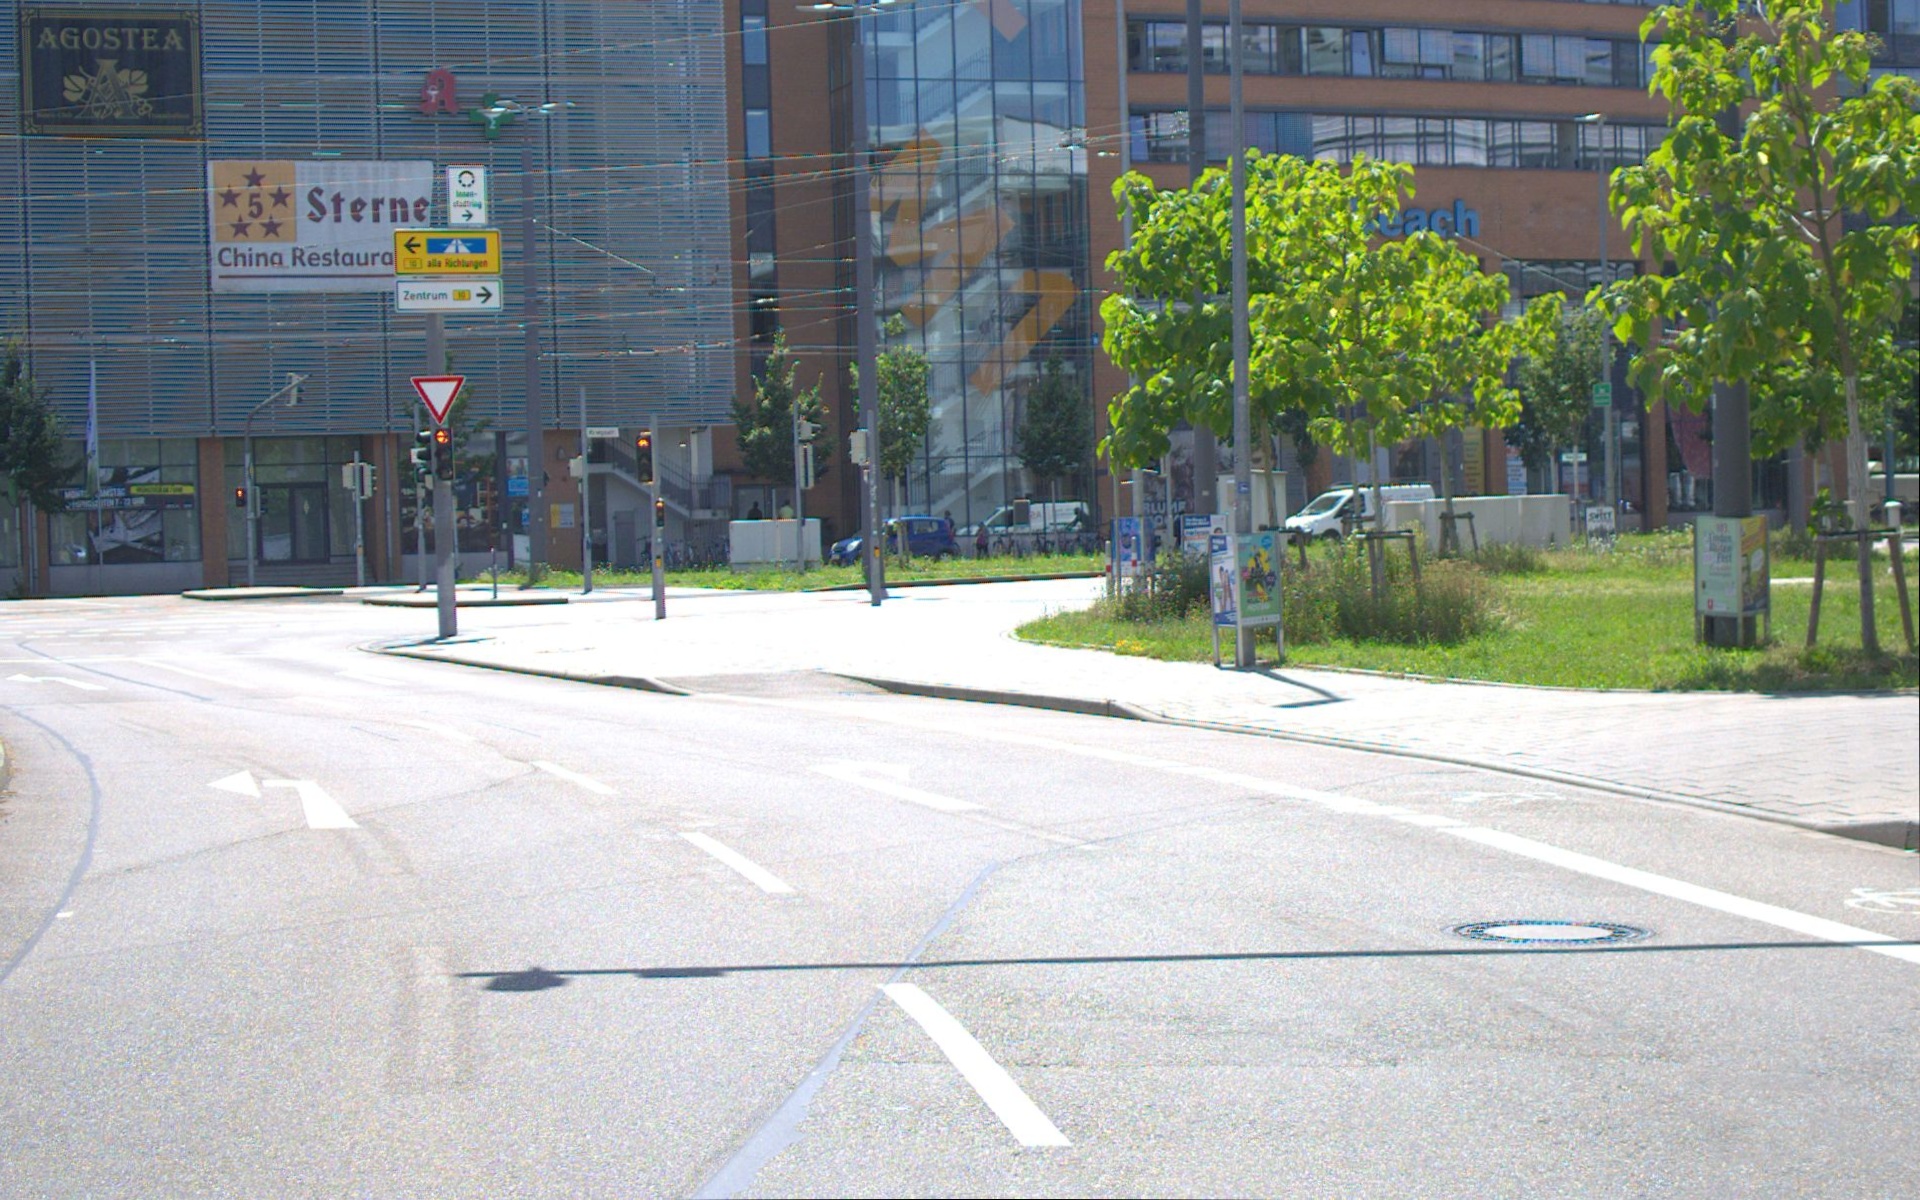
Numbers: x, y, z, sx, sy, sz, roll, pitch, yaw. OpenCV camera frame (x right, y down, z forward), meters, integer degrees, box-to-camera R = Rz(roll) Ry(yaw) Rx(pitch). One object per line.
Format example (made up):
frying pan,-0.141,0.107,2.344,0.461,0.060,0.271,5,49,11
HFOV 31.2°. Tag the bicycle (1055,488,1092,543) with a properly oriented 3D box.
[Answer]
bicycle,3.761,-2.810,113.906,0.484,1.790,2.260,-1,2,-18

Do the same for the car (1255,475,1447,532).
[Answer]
car,11.714,-2.896,102.981,5.462,1.662,2.000,-1,2,-25

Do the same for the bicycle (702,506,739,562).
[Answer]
bicycle,-7.557,-2.098,108.623,0.598,1.725,2.261,-1,2,-19

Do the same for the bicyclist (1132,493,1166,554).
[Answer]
bicyclist,6.269,-2.538,114.125,0.912,2.006,0.748,-1,2,-18

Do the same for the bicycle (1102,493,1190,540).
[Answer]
bicycle,6.171,-2.776,114.149,2.848,1.552,0.705,-1,2,-17

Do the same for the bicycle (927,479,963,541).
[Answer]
bicycle,-0.509,-2.965,112.613,0.484,2.006,2.347,-1,2,-18

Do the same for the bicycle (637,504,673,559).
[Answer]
bicycle,-9.606,-2.166,108.352,0.598,1.725,2.261,-1,2,-19

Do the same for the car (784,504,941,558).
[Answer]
car,-2.713,-1.916,95.326,3.986,1.437,1.744,-1,2,-21

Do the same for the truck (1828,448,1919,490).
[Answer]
truck,46.176,-6.516,171.427,1.877,2.006,5.377,-2,2,-45

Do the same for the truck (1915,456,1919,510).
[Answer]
truck,53.558,-6.051,176.356,1.994,2.799,9.237,-2,2,-40

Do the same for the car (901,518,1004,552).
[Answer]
car,-0.233,-2.093,109.837,2.992,1.032,1.350,-1,2,-22

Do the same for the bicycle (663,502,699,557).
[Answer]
bicycle,-8.818,-2.228,108.649,0.598,1.725,2.261,-1,2,-19
